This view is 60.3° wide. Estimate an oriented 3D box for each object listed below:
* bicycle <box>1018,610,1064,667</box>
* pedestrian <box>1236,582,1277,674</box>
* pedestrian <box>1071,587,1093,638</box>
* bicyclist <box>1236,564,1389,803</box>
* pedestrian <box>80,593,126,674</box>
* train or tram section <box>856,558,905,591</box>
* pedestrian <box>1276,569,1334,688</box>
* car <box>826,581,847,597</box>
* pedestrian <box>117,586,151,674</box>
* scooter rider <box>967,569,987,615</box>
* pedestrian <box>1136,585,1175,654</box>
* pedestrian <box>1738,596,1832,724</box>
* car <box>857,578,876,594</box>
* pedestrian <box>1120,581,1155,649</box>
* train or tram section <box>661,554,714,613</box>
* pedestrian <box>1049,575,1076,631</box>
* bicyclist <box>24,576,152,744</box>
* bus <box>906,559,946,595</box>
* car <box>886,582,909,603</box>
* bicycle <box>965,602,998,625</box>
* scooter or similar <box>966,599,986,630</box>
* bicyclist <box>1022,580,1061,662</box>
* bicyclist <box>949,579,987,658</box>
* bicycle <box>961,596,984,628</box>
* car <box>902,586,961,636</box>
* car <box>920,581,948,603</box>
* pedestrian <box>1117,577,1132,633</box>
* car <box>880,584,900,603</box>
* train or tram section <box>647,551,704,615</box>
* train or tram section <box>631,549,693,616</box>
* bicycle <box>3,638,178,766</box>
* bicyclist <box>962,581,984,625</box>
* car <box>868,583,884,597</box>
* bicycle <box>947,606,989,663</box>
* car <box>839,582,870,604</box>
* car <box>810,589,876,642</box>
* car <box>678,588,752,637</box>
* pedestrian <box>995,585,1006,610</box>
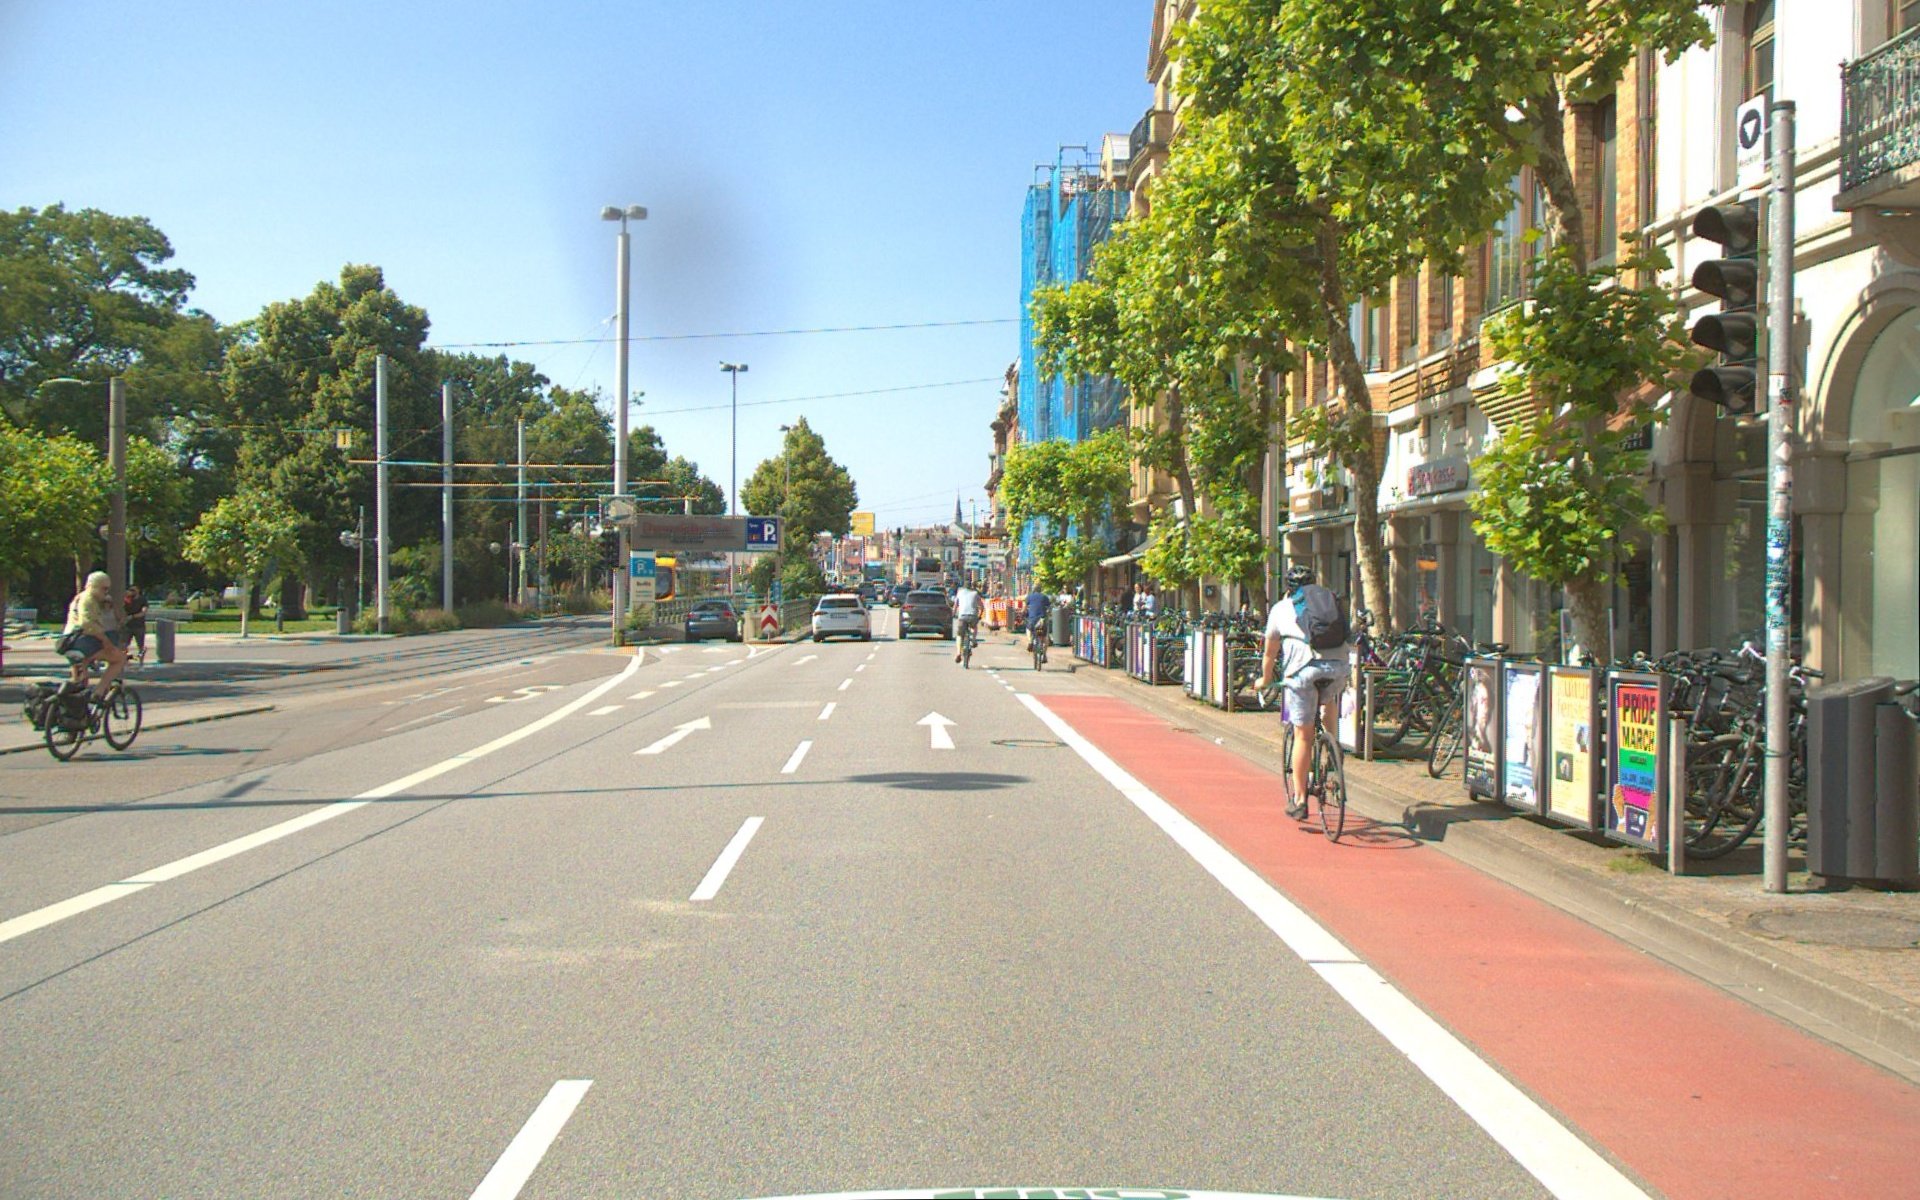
[{"bbox_3d":[1.670,0.779,34.260,0.719,1.112,1.910,2,0,-3],"label":"bicycle"},{"bbox_3d":[5.914,0.555,33.043,0.654,1.812,0.985,0,0,2],"label":"pedestrian"},{"bbox_3d":[4.610,0.468,62.423,0.797,1.881,0.892,-1,0,5],"label":"pedestrian"},{"bbox_3d":[2.326,0.526,11.033,0.674,1.488,1.142,2,0,-4],"label":"bicyclist"},{"bbox_3d":[-17.743,0.688,34.235,0.513,1.637,0.627,-2,1,7],"label":"pedestrian"},{"bbox_3d":[-9.491,-3.016,198.605,2.763,3.643,10.039,2,0,15],"label":"train or tram section"},{"bbox_3d":[4.917,0.397,23.627,0.639,1.662,0.730,2,0,1],"label":"pedestrian"},{"bbox_3d":[-10.190,-0.912,136.656,1.422,1.323,3.999,2,0,-1],"label":"car"},{"bbox_3d":[-17.111,0.613,34.254,0.520,1.763,0.581,-3,1,-32],"label":"pedestrian"},{"bbox_3d":[0.658,-0.309,63.962,0.674,1.759,0.778,2,0,-3],"label":"scooter rider"},{"bbox_3d":[4.776,0.462,40.467,0.684,1.654,0.699,-1,0,-18],"label":"pedestrian"},{"bbox_3d":[8.580,0.610,17.204,0.715,1.274,0.588,2,0,42],"label":"pedestrian"},{"bbox_3d":[-7.937,-1.179,140.814,1.422,1.323,3.999,2,0,-1],"label":"car"},{"bbox_3d":[4.397,0.368,41.068,0.590,1.654,0.641,-3,0,-18],"label":"pedestrian"},{"bbox_3d":[-17.466,-1.057,106.334,2.561,3.643,5.354,2,0,-2],"label":"train or tram section"},{"bbox_3d":[3.157,0.104,50.842,0.646,1.712,0.650,0,-1,-18],"label":"pedestrian"},{"bbox_3d":[-8.875,0.590,16.868,0.801,1.650,0.902,-1,1,-2],"label":"bicyclist"},{"bbox_3d":[-2.938,-1.943,140.240,2.910,2.825,8.635,2,0,-4],"label":"bus"},{"bbox_3d":[-4.215,-0.508,111.918,1.422,1.323,3.341,2,0,-1],"label":"car"},{"bbox_3d":[1.185,0.752,90.332,1.735,1.199,0.608,1,0,-2],"label":"bicycle"},{"bbox_3d":[0.614,0.553,63.924,0.674,1.188,1.463,2,0,-3],"label":"scooter or similar"},{"bbox_3d":[1.682,0.430,34.229,0.674,1.644,0.918,2,0,-3],"label":"bicyclist"},{"bbox_3d":[0.161,0.371,34.376,0.674,1.604,1.049,2,0,-3],"label":"bicyclist"},{"bbox_3d":[0.459,0.435,60.683,0.719,1.112,1.897,2,0,-3],"label":"bicycle"},{"bbox_3d":[-0.938,0.340,54.582,1.836,1.518,3.999,2,0,-1],"label":"car"},{"bbox_3d":[-1.888,-0.577,119.878,1.953,1.518,3.999,2,0,-1],"label":"car"},{"bbox_3d":[5.122,0.150,51.573,0.372,1.712,0.477,-1,0,14],"label":"pedestrian"},{"bbox_3d":[-5.276,-0.502,124.267,1.422,1.323,3.340,2,0,-2],"label":"car"},{"bbox_3d":[-17.242,-1.021,100.605,2.561,3.643,6.101,2,0,-2],"label":"train or tram section"},{"bbox_3d":[-16.974,-0.982,94.527,2.561,3.643,6.101,2,0,-2],"label":"train or tram section"},{"bbox_3d":[-8.865,1.009,16.954,0.801,1.140,1.873,-2,0,-2],"label":"bicycle"},{"bbox_3d":[0.470,0.104,60.635,0.674,1.604,1.049,2,0,-4],"label":"bicyclist"},{"bbox_3d":[-8.016,-0.969,158.006,1.422,1.323,3.340,2,0,-2],"label":"car"},{"bbox_3d":[0.157,0.703,34.436,0.719,1.112,1.896,2,0,-3],"label":"bicycle"},{"bbox_3d":[-6.696,-0.442,105.461,1.779,1.355,3.999,2,0,-1],"label":"car"},{"bbox_3d":[-3.669,0.462,52.467,1.821,1.533,3.999,2,0,-1],"label":"car"},{"bbox_3d":[-8.266,0.387,56.063,1.953,1.534,3.999,2,0,-1],"label":"car"},{"bbox_3d":[2.701,-0.146,111.379,0.641,1.649,0.815,-1,1,-4],"label":"pedestrian"}]
